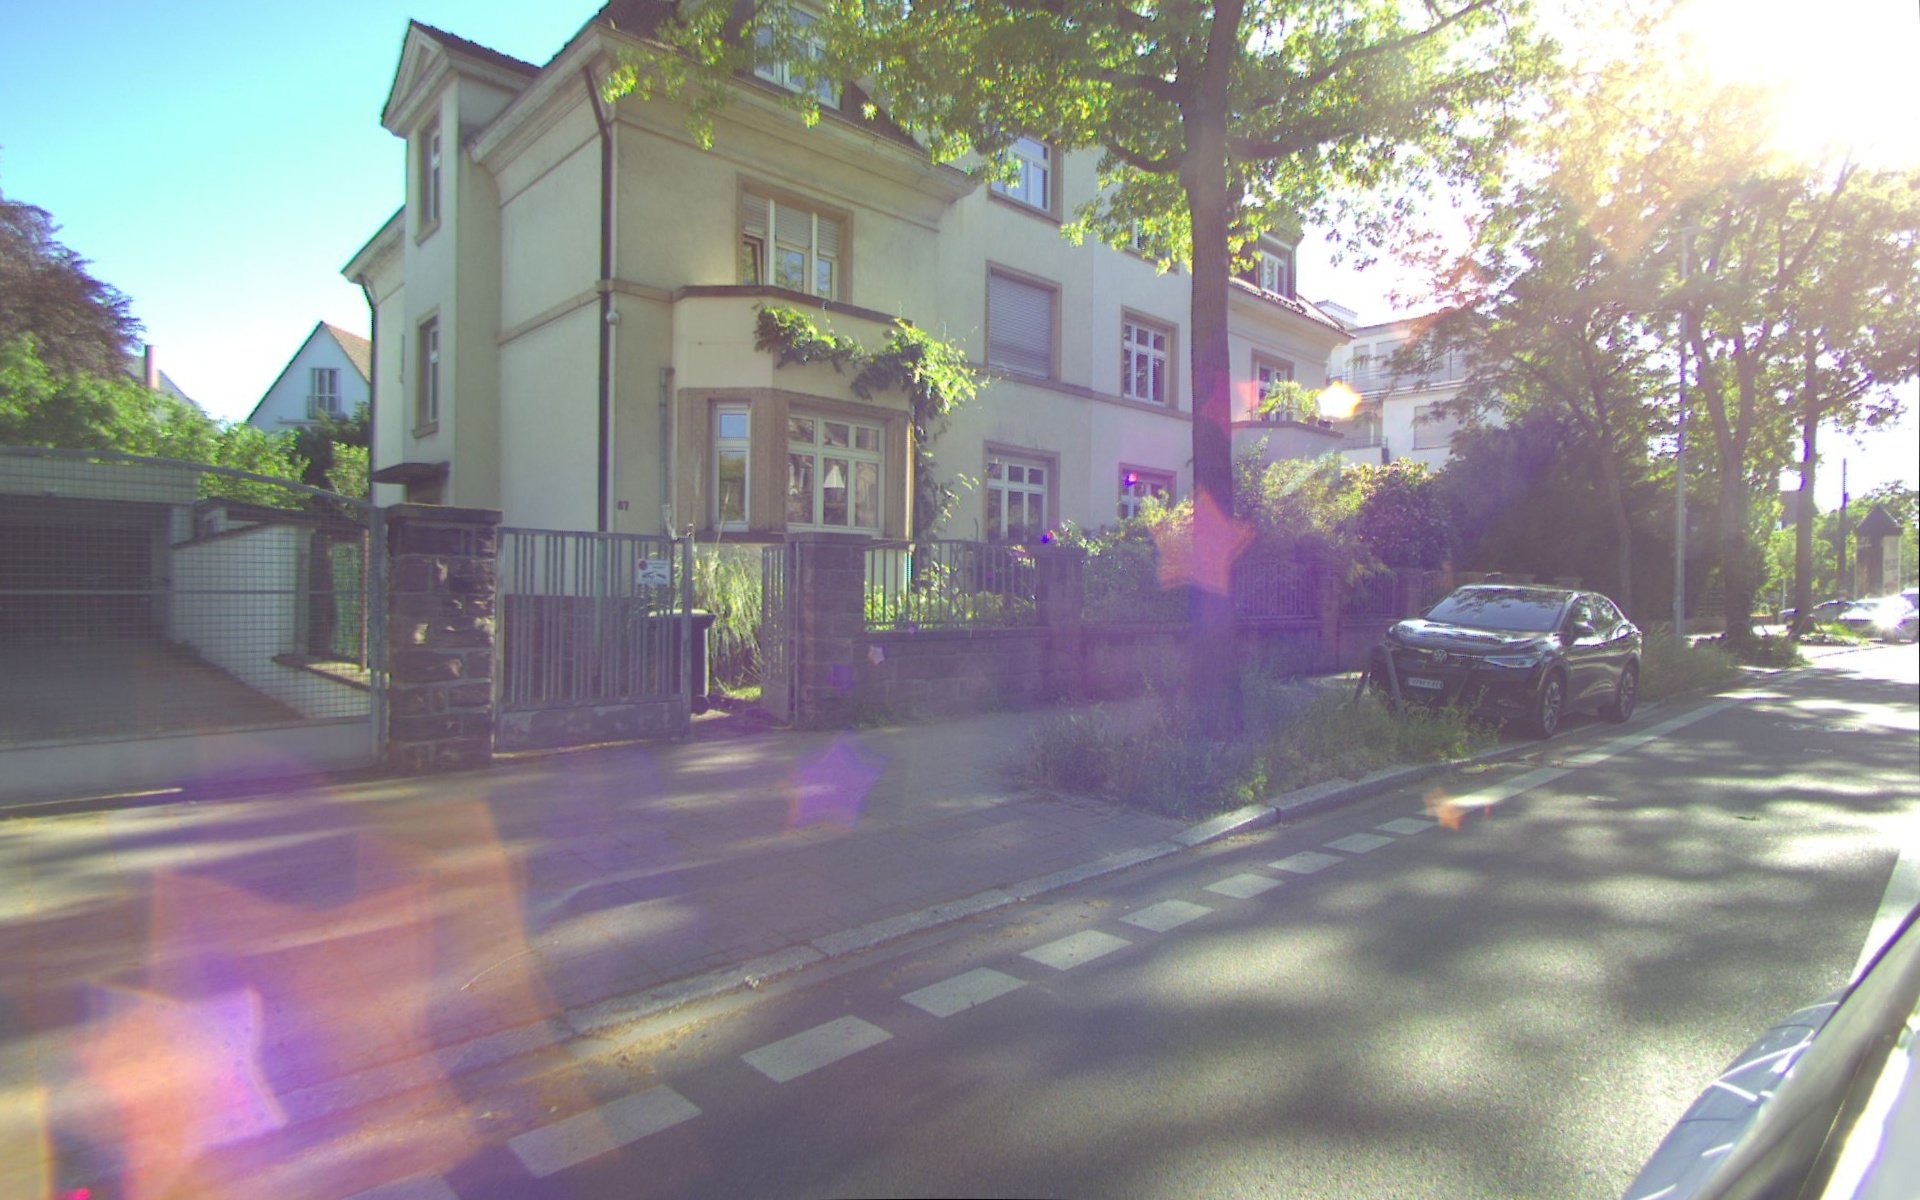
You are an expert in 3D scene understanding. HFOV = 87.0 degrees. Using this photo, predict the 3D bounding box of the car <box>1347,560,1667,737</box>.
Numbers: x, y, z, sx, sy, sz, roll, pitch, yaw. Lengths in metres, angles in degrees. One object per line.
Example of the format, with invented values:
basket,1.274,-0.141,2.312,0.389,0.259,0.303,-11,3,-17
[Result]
car,6.698,0.485,12.196,4.304,1.695,1.997,1,2,-42

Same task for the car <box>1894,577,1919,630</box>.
car,36.762,0.142,37.875,4.663,1.919,2.128,0,1,-41

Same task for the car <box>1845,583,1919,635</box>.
car,31.507,0.264,34.098,3.927,1.660,1.824,0,1,-38
